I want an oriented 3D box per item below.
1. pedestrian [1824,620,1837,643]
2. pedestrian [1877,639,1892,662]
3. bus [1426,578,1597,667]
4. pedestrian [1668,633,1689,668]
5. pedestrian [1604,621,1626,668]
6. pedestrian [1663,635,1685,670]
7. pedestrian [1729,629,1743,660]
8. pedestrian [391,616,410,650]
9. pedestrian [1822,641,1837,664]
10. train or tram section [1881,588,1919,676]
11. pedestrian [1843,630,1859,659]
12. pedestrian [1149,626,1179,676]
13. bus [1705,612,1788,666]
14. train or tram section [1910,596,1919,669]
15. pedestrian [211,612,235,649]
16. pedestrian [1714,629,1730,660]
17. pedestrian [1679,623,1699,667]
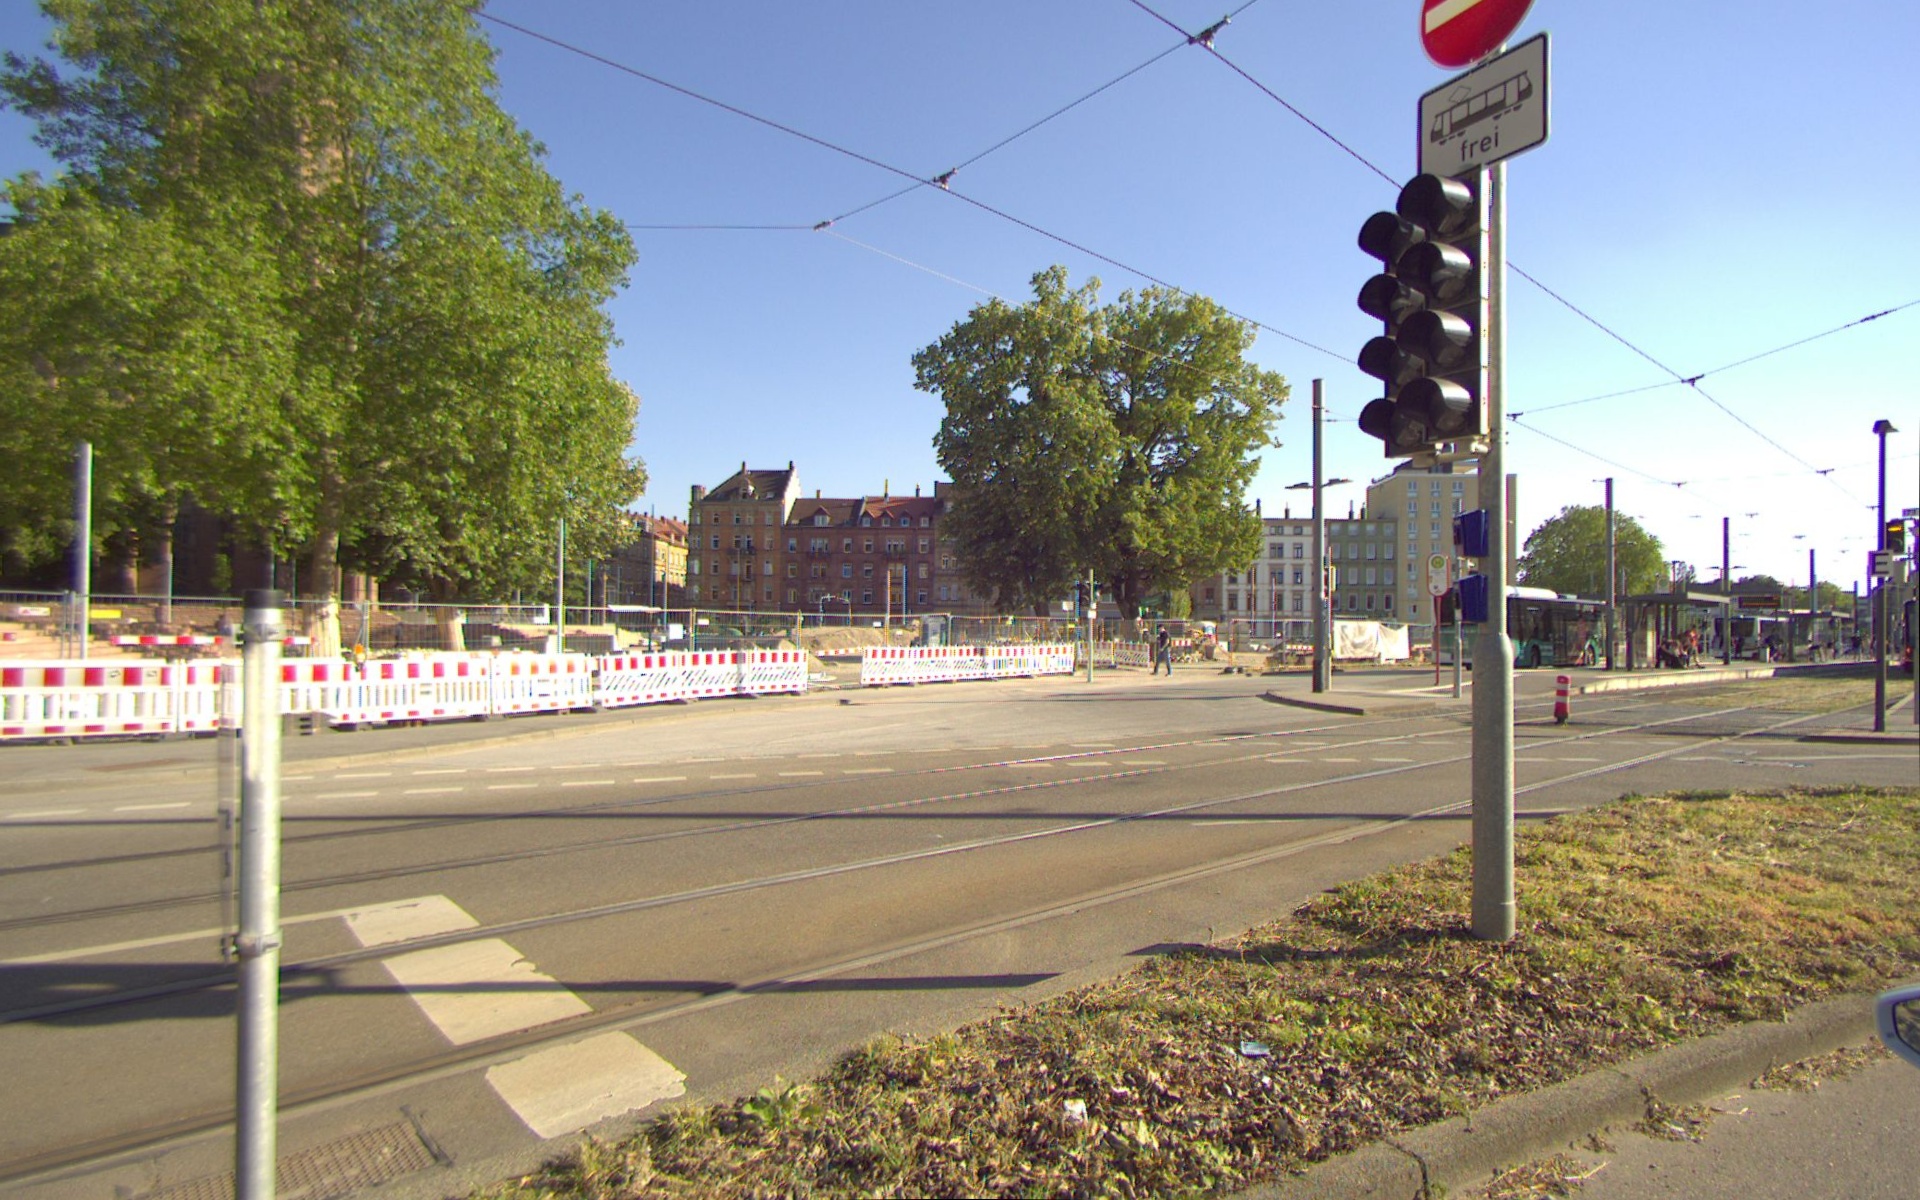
[{"bbox_3d":[69.014,2.481,79.642,0.636,1.772,0.726,2,-2,-45],"label":"pedestrian"},{"bbox_3d":[72.172,3.946,78.437,0.634,1.772,0.728,2,-2,-37],"label":"pedestrian"},{"bbox_3d":[22.002,0.902,39.748,9.564,3.177,2.631,2,0,-40],"label":"bus"},{"bbox_3d":[28.184,1.985,39.406,0.564,1.363,0.636,-1,-2,43],"label":"pedestrian"},{"bbox_3d":[25.073,1.701,38.471,0.554,1.772,0.534,2,-2,-35],"label":"pedestrian"},{"bbox_3d":[27.675,2.021,38.930,0.609,1.358,0.438,-1,-2,44],"label":"pedestrian"},{"bbox_3d":[44.736,2.562,57.911,0.564,1.772,0.636,-1,-2,41],"label":"pedestrian"},{"bbox_3d":[-28.075,1.666,50.397,0.751,1.669,0.671,1,-1,-26],"label":"pedestrian"},{"bbox_3d":[68.958,4.173,79.652,0.634,1.772,0.728,2,-2,-37],"label":"pedestrian"},{"bbox_3d":[44.756,1.494,45.825,12.108,3.644,2.855,2,0,-42],"label":"train or tram section"},{"bbox_3d":[54.896,2.719,61.897,0.629,1.772,0.570,-1,-2,34],"label":"pedestrian"},{"bbox_3d":[7.057,1.773,34.749,0.699,1.719,0.899,-1,-4,33],"label":"pedestrian"},{"bbox_3d":[53.963,2.634,68.746,13.376,3.317,2.694,2,0,-44],"label":"bus"},{"bbox_3d":[53.894,1.821,53.778,12.100,3.644,2.987,2,0,-40],"label":"train or tram section"},{"bbox_3d":[-33.495,1.398,45.637,0.665,1.669,0.635,1,-1,-18],"label":"pedestrian"},{"bbox_3d":[42.992,2.505,56.676,0.629,1.772,0.570,-1,-2,34],"label":"pedestrian"},{"bbox_3d":[29.563,1.813,40.726,0.564,1.772,0.636,-1,-2,43],"label":"pedestrian"}]
